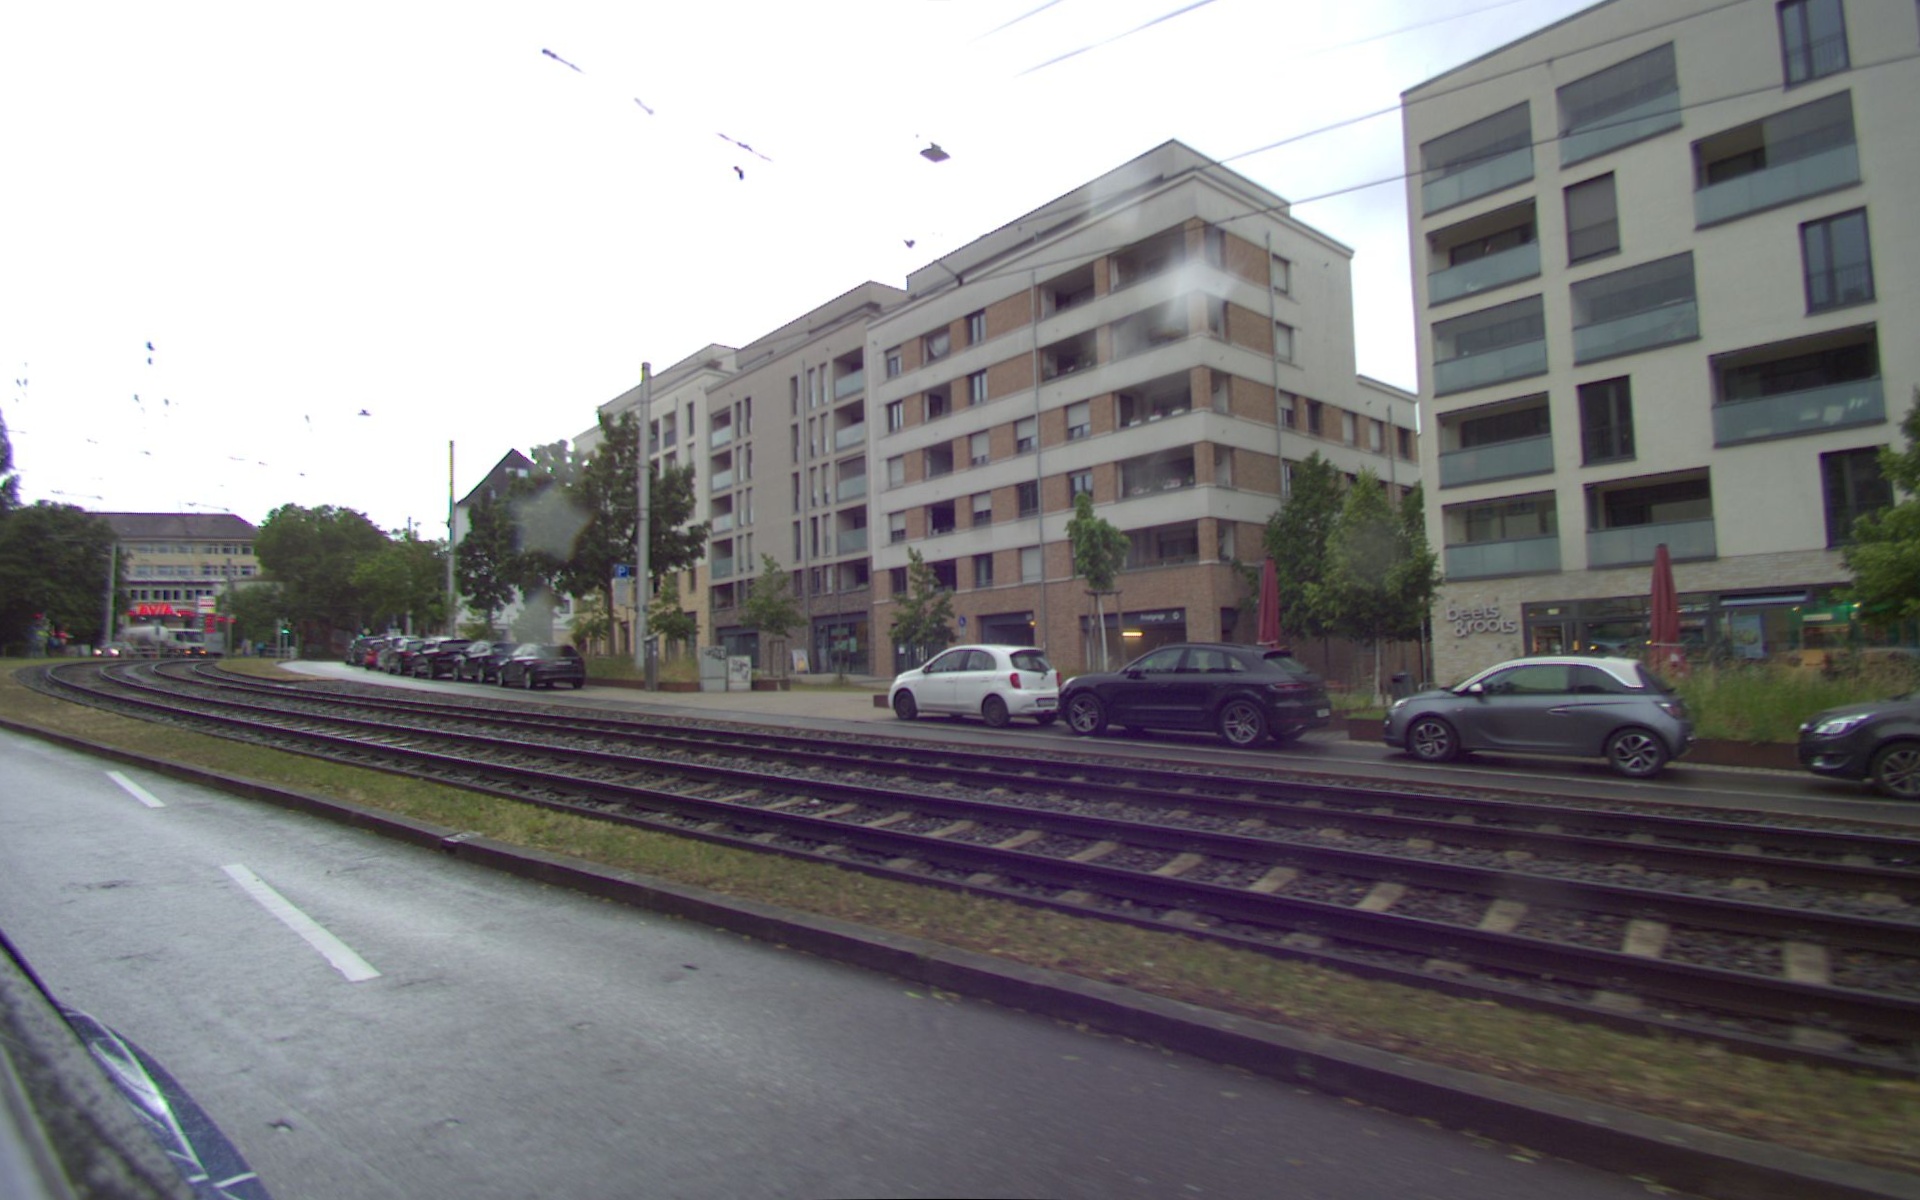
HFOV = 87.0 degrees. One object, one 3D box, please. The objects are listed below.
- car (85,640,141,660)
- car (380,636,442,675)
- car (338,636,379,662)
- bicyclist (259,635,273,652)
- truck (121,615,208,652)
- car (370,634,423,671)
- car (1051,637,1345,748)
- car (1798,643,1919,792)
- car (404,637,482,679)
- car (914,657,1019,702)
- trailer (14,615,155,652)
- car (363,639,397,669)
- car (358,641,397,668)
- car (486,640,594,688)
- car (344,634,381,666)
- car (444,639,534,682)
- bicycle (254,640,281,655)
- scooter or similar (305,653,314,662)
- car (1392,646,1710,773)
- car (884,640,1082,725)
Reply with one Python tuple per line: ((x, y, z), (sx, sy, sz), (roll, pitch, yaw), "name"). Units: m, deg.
((-66.768, 3.926, 79.843), (1.859, 1.502, 3.860), (1, -3, -15), "car")
((-24.834, 2.484, 45.682), (1.709, 1.657, 4.540), (1, -3, -38), "car")
((-39.378, 3.180, 66.243), (1.967, 1.617, 4.225), (1, -3, -35), "car")
((-53.725, 3.376, 78.354), (0.787, 1.304, 0.596), (2, -2, -40), "bicyclist")
((-77.820, 3.334, 99.120), (6.019, 3.426, 2.846), (2, -4, -23), "truck")
((-28.107, 2.610, 50.454), (1.641, 1.761, 4.265), (2, -3, -38), "car")
((3.802, 1.418, 16.606), (4.400, 1.573, 1.748), (-2, -4, 39), "car")
((11.392, 1.225, 10.318), (4.313, 1.525, 1.702), (-2, -4, 39), "car")
((-21.158, 2.326, 41.338), (1.780, 1.596, 4.705), (1, -3, -41), "car")
((0.284, 2.764, 35.522), (1.760, 1.446, 3.951), (-1, -4, 35), "car")
((-83.543, 3.249, 96.829), (9.665, 3.422, 2.822), (1, -3, -21), "trailer")
((-31.064, 2.876, 54.168), (1.449, 1.543, 2.939), (2, -3, -32), "car")
((-33.443, 3.083, 58.022), (1.530, 1.458, 4.410), (1, -2, -35), "car")
((-13.837, 2.060, 33.259), (1.942, 1.442, 4.203), (1, -3, -43), "car")
((-36.719, 3.055, 62.149), (1.560, 1.873, 4.343), (0, -2, -35), "car")
((-17.699, 2.228, 37.920), (1.717, 1.500, 4.259), (2, -3, -45), "car")
((-53.556, 3.660, 78.268), (1.684, 1.149, 0.627), (2, -4, -39), "bicycle")
((-87.165, 7.680, 135.595), (0.394, 1.202, 1.364), (0, 0, -5), "scooter or similar")
((7.761, 1.356, 13.423), (3.447, 1.446, 1.534), (-2, -4, 39), "car")
((0.382, 1.551, 19.839), (1.745, 1.490, 3.737), (3, -4, -44), "car")
